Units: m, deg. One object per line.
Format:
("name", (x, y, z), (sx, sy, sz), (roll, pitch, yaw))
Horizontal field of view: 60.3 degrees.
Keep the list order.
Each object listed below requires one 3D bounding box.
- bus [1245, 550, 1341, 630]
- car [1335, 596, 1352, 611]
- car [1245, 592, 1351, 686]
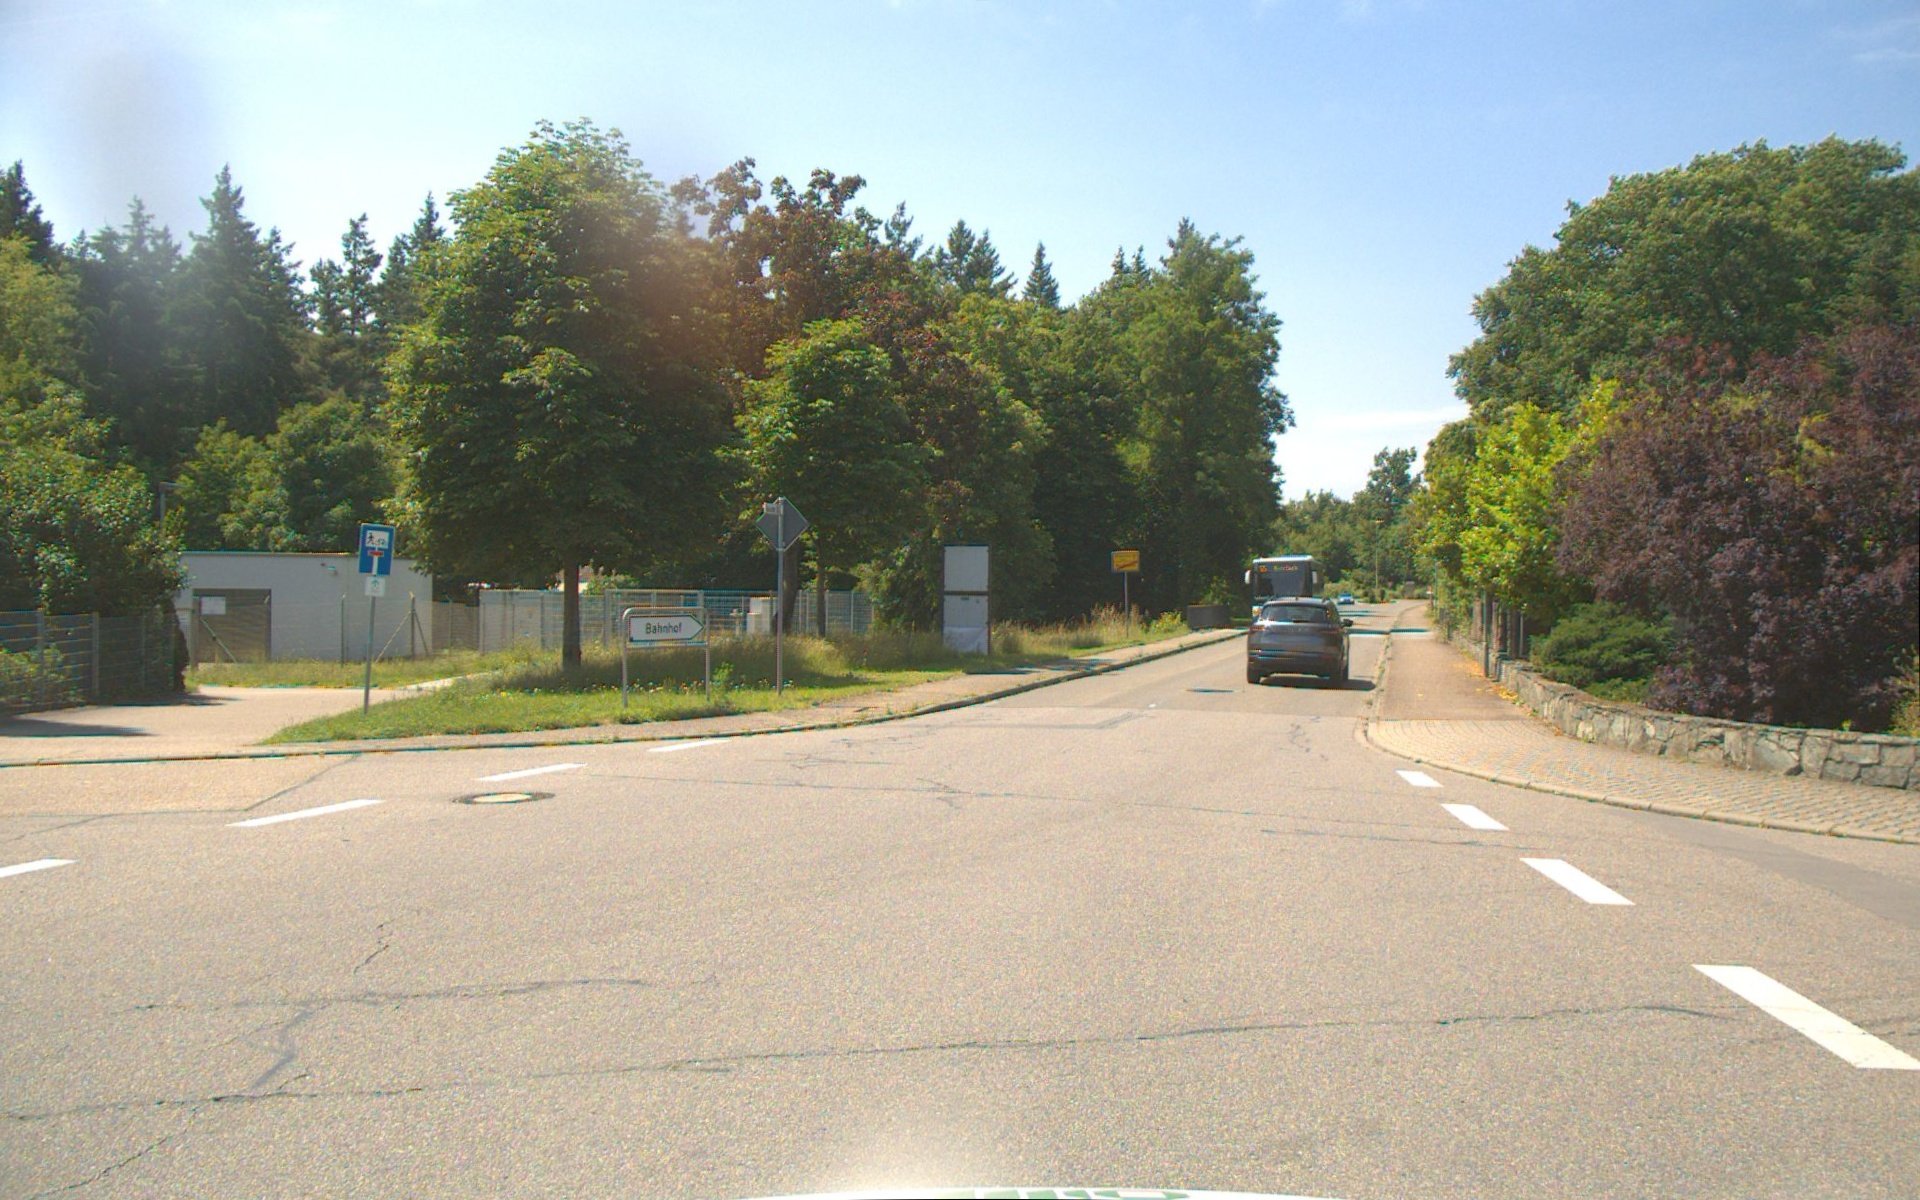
("bus", (15.159, -0.423, 74.502), (3.114, 3.301, 12.719), (0, 0, 17))
("car", (46.975, 0.430, 202.595), (1.909, 1.892, 4.003), (0, 0, 11))
("car", (6.550, 0.719, 31.797), (1.725, 1.646, 4.003), (2, 0, 15))
